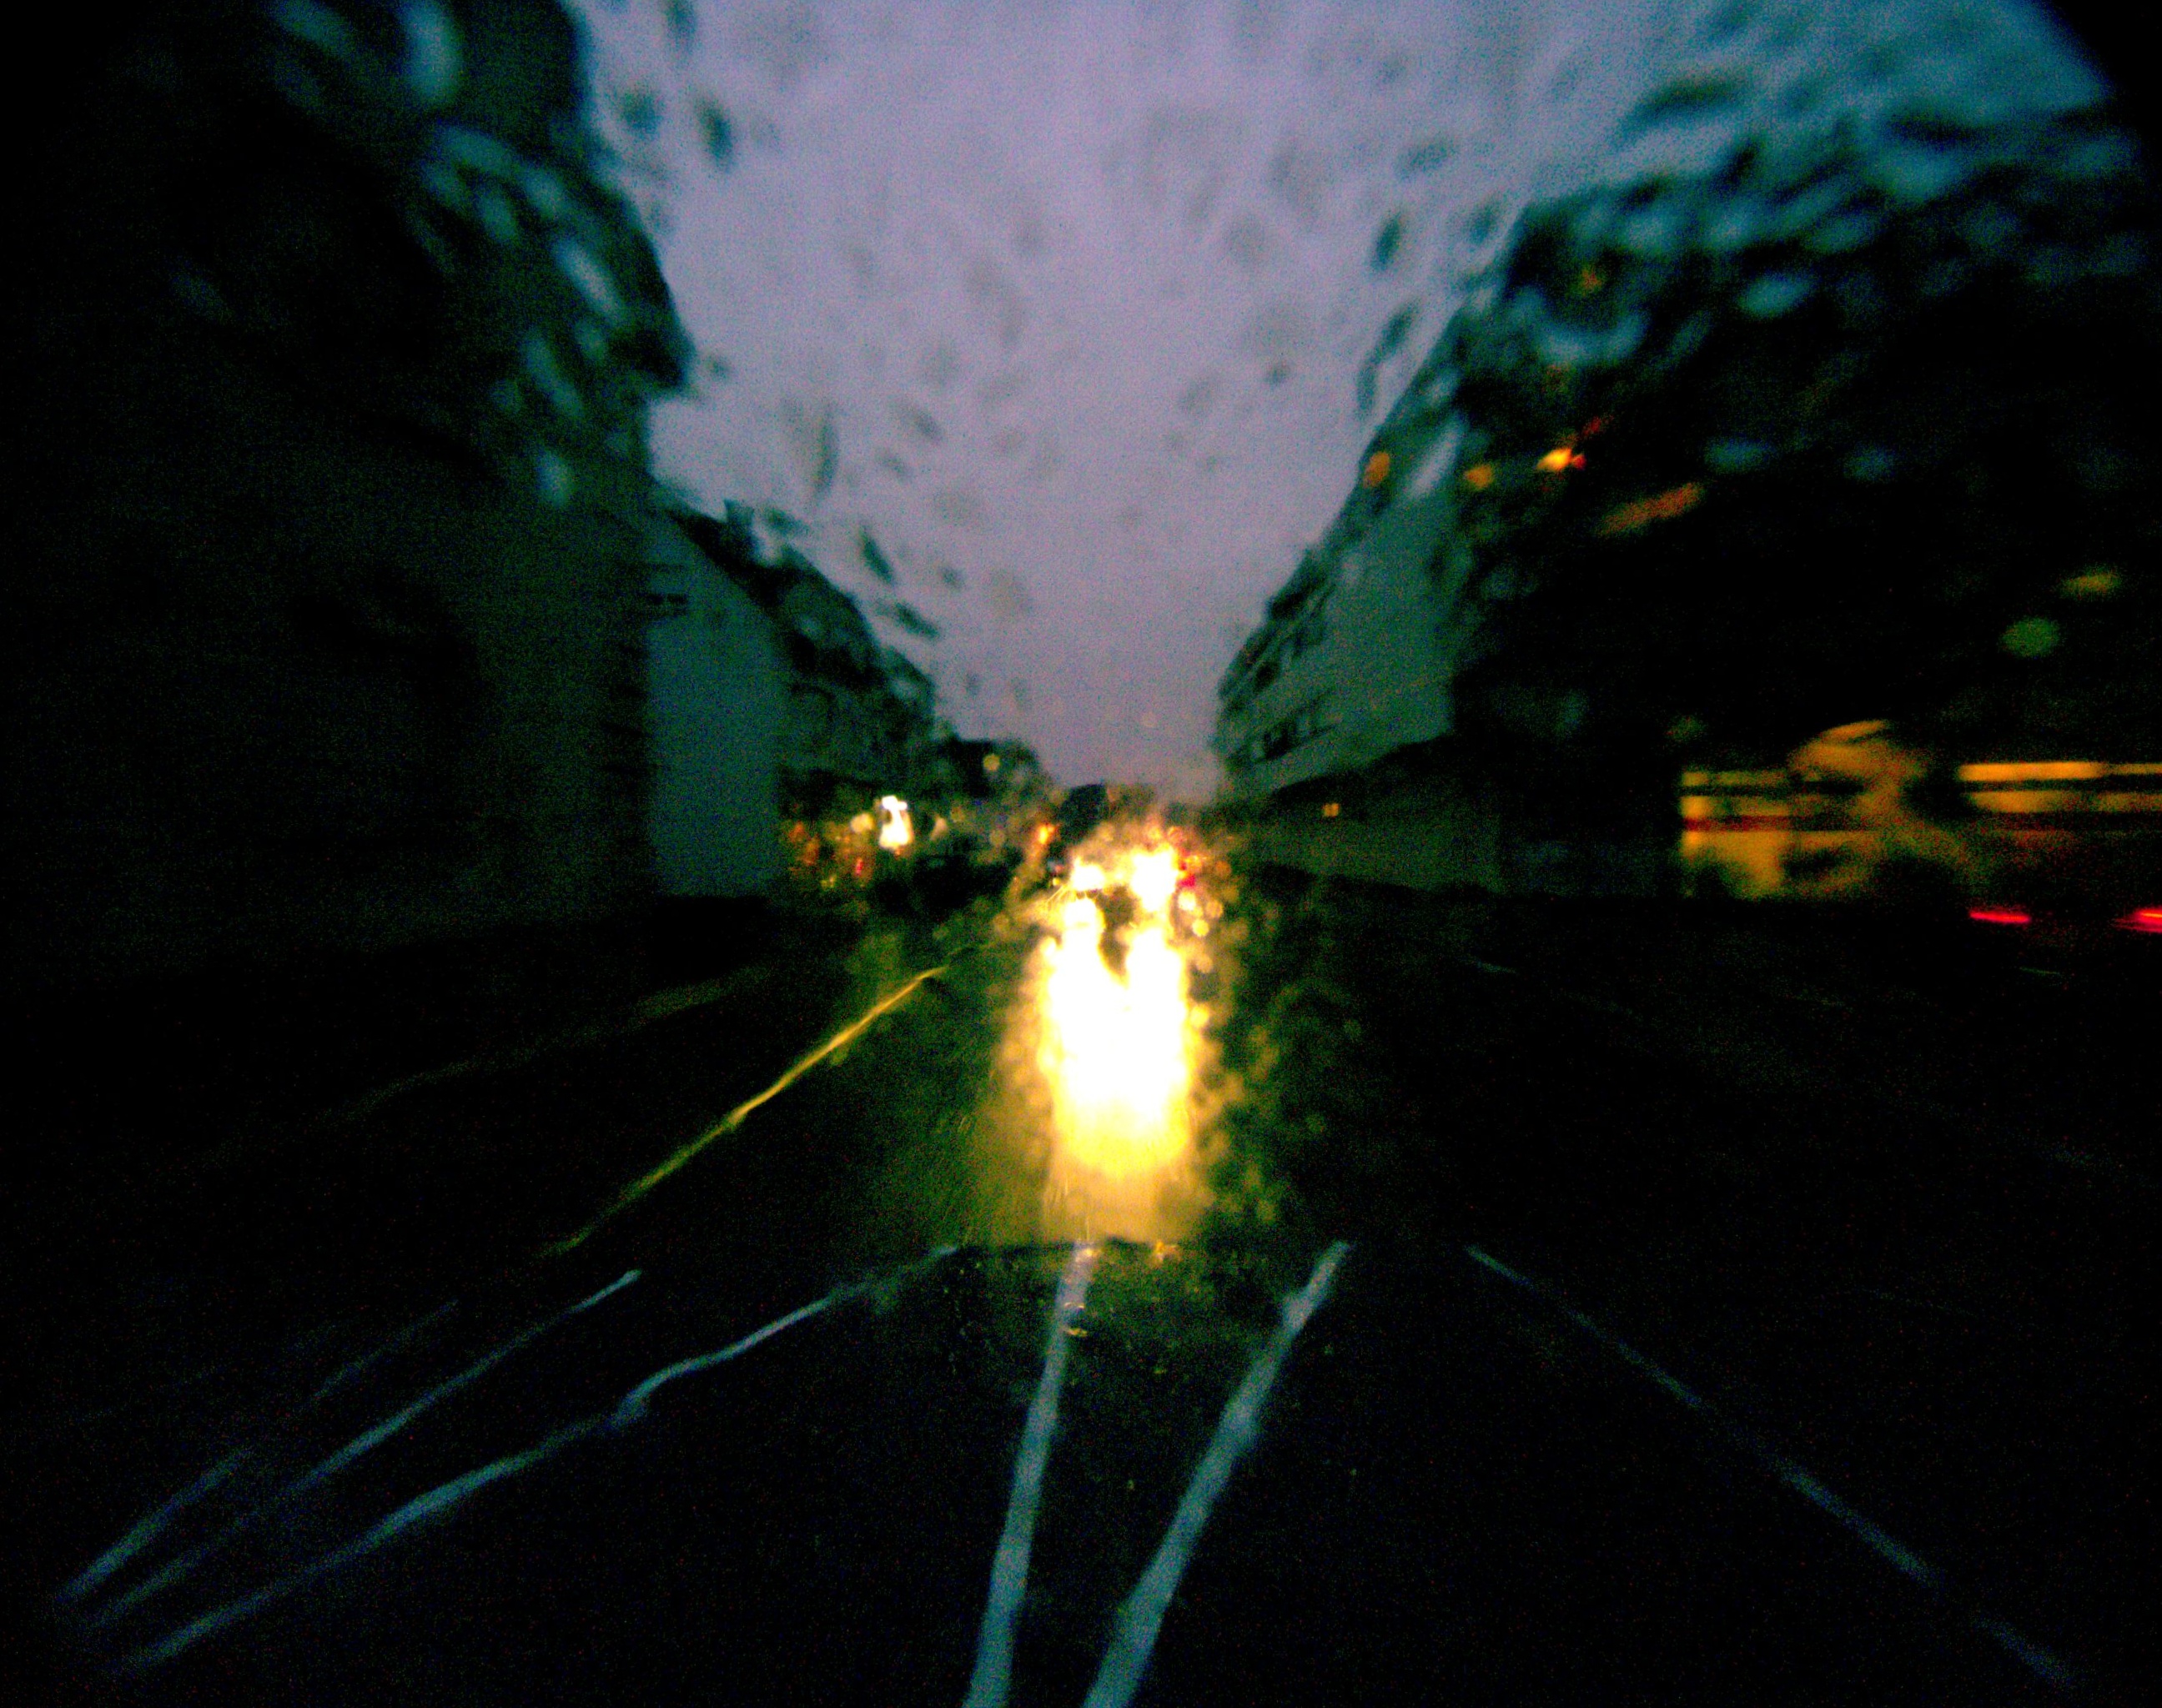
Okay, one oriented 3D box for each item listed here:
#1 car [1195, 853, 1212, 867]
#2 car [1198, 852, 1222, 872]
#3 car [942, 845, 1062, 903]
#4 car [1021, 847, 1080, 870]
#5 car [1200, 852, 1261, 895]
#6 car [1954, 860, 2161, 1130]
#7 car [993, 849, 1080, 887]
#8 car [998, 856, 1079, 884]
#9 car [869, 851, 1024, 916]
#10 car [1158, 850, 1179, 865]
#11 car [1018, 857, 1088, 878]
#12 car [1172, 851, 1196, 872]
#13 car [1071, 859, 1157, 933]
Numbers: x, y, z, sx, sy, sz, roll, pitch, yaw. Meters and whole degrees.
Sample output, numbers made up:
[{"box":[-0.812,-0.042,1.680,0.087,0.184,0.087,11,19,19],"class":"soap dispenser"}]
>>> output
[{"box":[13.669,0.669,84.925,1.777,1.441,3.829,-1,0,10],"class":"car"},{"box":[10.232,0.603,60.464,1.777,1.441,3.829,-1,0,8],"class":"car"},{"box":[-2.599,0.661,25.680,3.889,1.866,1.868,0,0,-3],"class":"car"},{"box":[-2.017,0.311,51.082,3.888,1.487,1.551,0,0,0],"class":"car"},{"box":[5.955,0.732,30.683,1.899,1.607,3.827,-1,0,3],"class":"car"},{"box":[7.908,0.784,4.511,3.305,1.499,1.503,-1,0,14],"class":"car"},{"box":[-2.044,0.625,35.459,3.887,1.722,1.714,0,0,2],"class":"car"},{"box":[-2.067,0.768,37.825,3.887,1.359,1.551,0,0,2],"class":"car"},{"box":[-3.509,0.763,20.301,3.852,1.618,1.611,1,0,-2],"class":"car"},{"box":[10.439,0.389,90.275,1.921,1.608,3.872,-1,0,15],"class":"car"},{"box":[-1.565,0.765,43.734,3.887,1.121,1.551,0,0,2],"class":"car"},{"box":[8.606,0.587,63.535,1.892,1.670,4.002,-1,0,8],"class":"car"},{"box":[0.875,0.890,17.717,1.730,1.475,3.605,-2,0,6],"class":"car"}]
